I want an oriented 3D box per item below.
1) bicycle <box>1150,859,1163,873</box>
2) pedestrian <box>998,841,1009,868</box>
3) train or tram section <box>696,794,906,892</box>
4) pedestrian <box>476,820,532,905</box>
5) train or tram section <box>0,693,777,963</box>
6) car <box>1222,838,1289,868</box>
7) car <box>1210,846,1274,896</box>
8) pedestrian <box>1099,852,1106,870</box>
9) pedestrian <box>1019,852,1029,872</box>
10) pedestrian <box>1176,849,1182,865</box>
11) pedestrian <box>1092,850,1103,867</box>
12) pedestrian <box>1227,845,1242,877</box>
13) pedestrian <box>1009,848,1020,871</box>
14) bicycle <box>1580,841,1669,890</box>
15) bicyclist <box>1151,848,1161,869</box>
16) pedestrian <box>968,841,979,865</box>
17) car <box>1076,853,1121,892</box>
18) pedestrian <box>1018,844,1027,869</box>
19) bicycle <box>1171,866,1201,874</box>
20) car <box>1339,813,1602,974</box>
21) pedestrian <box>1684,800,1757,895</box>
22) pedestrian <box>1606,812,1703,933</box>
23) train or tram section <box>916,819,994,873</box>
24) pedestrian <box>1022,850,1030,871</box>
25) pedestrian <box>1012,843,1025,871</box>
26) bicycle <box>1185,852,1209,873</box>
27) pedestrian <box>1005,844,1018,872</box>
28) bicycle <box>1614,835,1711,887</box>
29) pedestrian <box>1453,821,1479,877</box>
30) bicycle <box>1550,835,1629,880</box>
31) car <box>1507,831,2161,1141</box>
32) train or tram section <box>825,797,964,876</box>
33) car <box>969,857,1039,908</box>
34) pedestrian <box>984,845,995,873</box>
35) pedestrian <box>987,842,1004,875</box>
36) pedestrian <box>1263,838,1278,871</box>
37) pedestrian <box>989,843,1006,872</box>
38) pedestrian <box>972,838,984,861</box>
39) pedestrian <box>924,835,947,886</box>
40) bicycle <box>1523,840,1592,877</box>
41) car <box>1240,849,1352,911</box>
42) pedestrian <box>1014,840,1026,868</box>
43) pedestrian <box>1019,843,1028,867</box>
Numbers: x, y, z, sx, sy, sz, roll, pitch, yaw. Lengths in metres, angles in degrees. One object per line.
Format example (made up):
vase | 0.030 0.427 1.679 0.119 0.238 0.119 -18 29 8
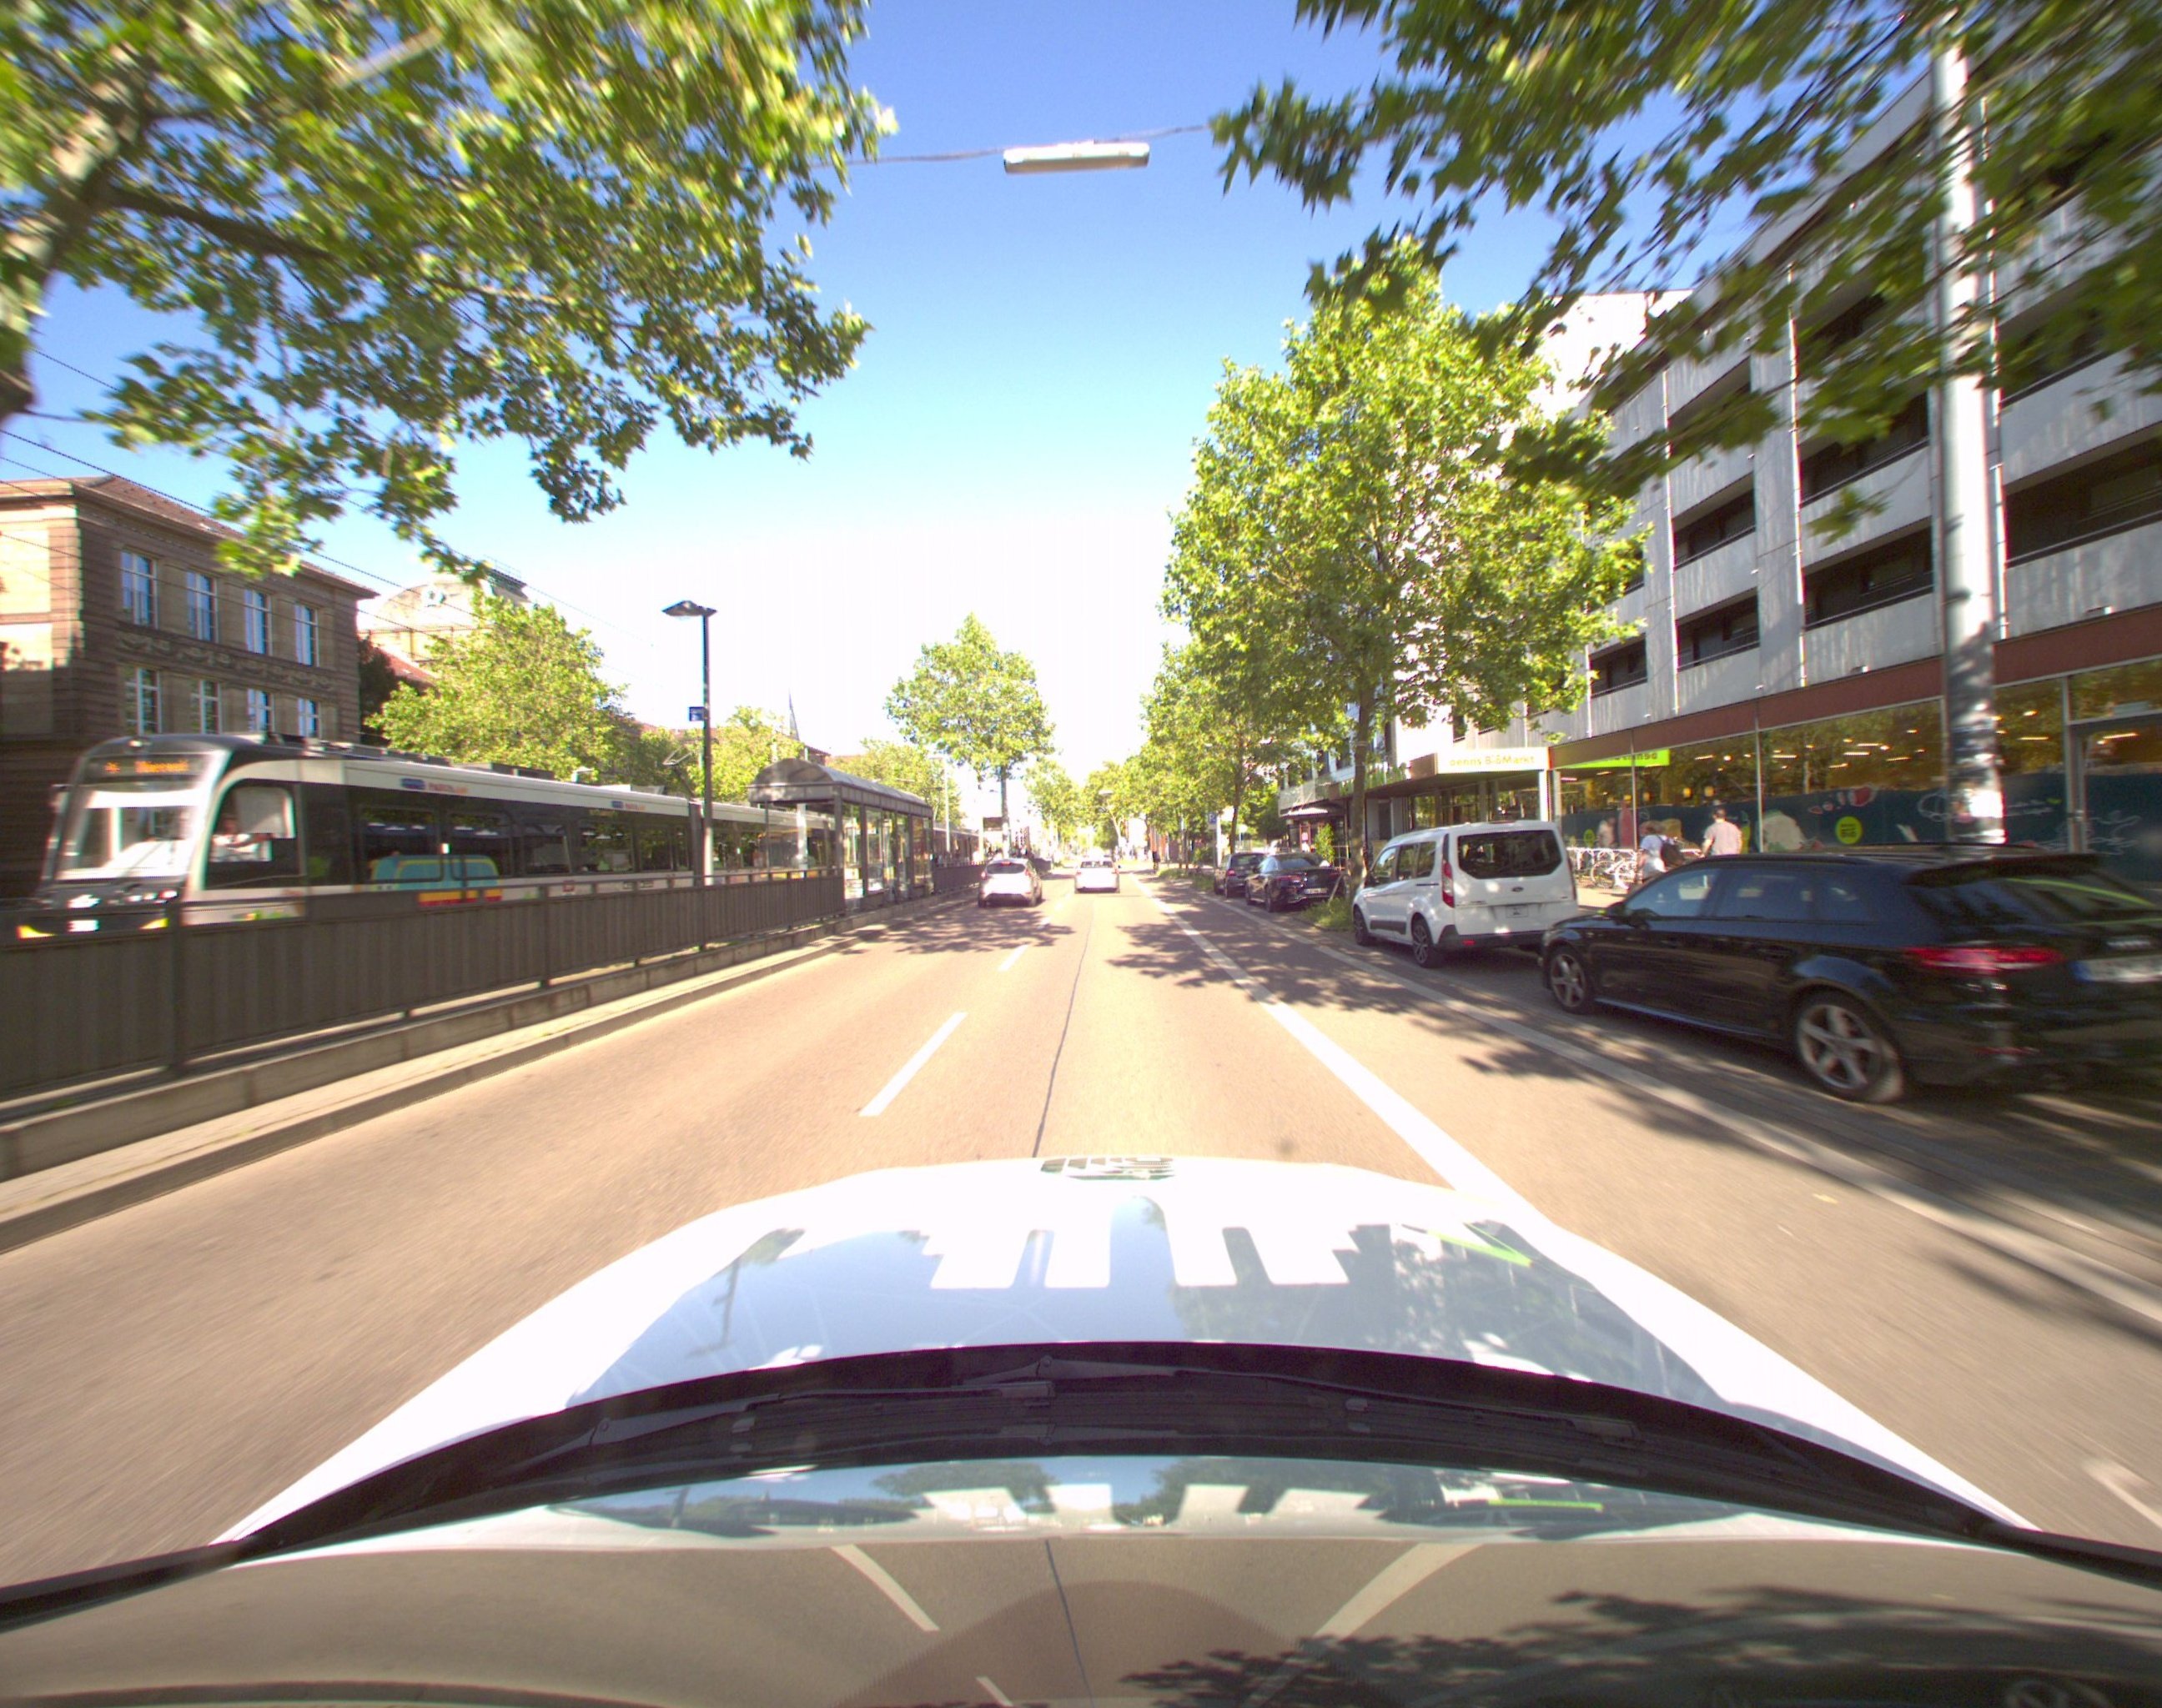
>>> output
bicycle | 6.050 0.990 65.520 0.826 1.041 1.880 -3 0 10
pedestrian | -4.906 0.031 51.586 0.631 1.702 0.746 -2 0 -2
train or tram section | -11.841 -0.414 37.866 2.838 3.434 18.223 -1 0 2
pedestrian | -12.967 0.189 18.313 0.707 1.855 0.648 -3 0 0
train or tram section | -12.512 -0.362 19.602 2.860 3.434 18.285 -1 0 2
car | 13.830 -0.074 64.699 4.879 1.984 1.914 -5 0 1
car | 5.511 0.551 28.255 1.559 1.550 4.002 -2 0 2
pedestrian | 2.004 0.636 75.729 0.637 1.619 0.642 -2 -3 0
pedestrian | -3.589 0.499 51.461 0.543 1.192 0.531 -2 0 1
pedestrian | 10.688 0.329 88.853 0.623 1.629 0.946 -1 0 10
pedestrian | 1.569 0.406 76.952 0.824 1.575 0.741 -1 -1 9
pedestrian | 8.461 0.379 44.859 0.558 1.704 1.052 -3 0 1
pedestrian | -3.753 0.311 46.017 0.532 1.246 0.604 -3 0 0
bicycle | 13.074 0.279 19.654 1.683 1.055 0.589 -4 1 28
bicyclist | 6.007 0.379 65.503 0.654 1.657 0.767 -3 0 10
pedestrian | -6.948 -0.070 52.624 0.543 1.519 0.531 -2 0 1
car | 0.729 0.712 33.311 1.724 1.390 3.841 -1 1 1
pedestrian | -4.109 0.192 57.280 0.547 1.734 0.538 -2 0 -6
bicycle | 6.151 0.952 47.703 1.602 0.353 1.389 -2 0 2
car | 5.239 0.449 11.712 1.757 1.792 4.395 -3 0 2
pedestrian | 11.843 -0.124 15.112 0.555 1.678 0.882 -4 0 1
pedestrian | 8.130 0.254 11.584 0.695 1.612 0.869 -4 0 3
train or tram section | -8.308 -0.376 55.795 2.903 3.260 13.117 0 -1 2
pedestrian | -3.528 0.419 52.576 0.414 1.316 0.507 -2 0 0
pedestrian | -3.779 0.185 49.435 0.658 1.696 0.571 -2 0 2
bicycle | 6.659 0.484 46.982 0.788 1.133 1.839 -2 0 -11
pedestrian | -4.142 0.232 48.731 0.658 1.634 0.571 -2 0 2
bicycle | 13.244 0.165 18.599 1.683 1.055 0.589 -5 0 28
pedestrian | 12.131 -0.162 25.680 0.606 1.715 0.616 -4 2 22
bicycle | 13.512 0.099 21.699 1.683 1.055 0.589 -4 2 28
car | 5.156 0.623 6.071 1.722 1.403 4.296 -4 0 1
train or tram section | -8.773 -0.595 41.323 2.903 3.260 15.898 0 -1 2
car | -2.249 0.813 24.614 1.654 1.409 3.633 -1 0 1
pedestrian | -5.788 0.302 51.456 0.607 1.702 0.545 -2 0 -3
pedestrian | -4.613 0.238 43.901 0.773 1.752 0.723 -3 0 -2
pedestrian | 10.481 0.024 45.001 0.558 1.744 0.879 -3 0 1
pedestrian | -4.350 0.180 42.564 0.773 1.510 0.751 -3 0 -2
pedestrian | -5.874 -0.250 46.453 0.532 1.299 0.604 -3 0 -2
pedestrian | -4.740 0.210 26.546 0.564 1.640 0.622 -1 0 3
bicycle | 13.523 0.130 23.158 1.631 0.916 0.589 -4 2 28
car | 5.461 0.606 21.310 1.755 1.418 4.701 -1 0 1
pedestrian | -3.797 -0.002 50.658 0.658 1.696 0.571 -2 0 2
pedestrian | -4.236 0.080 60.188 0.546 1.734 0.539 -2 0 -3
